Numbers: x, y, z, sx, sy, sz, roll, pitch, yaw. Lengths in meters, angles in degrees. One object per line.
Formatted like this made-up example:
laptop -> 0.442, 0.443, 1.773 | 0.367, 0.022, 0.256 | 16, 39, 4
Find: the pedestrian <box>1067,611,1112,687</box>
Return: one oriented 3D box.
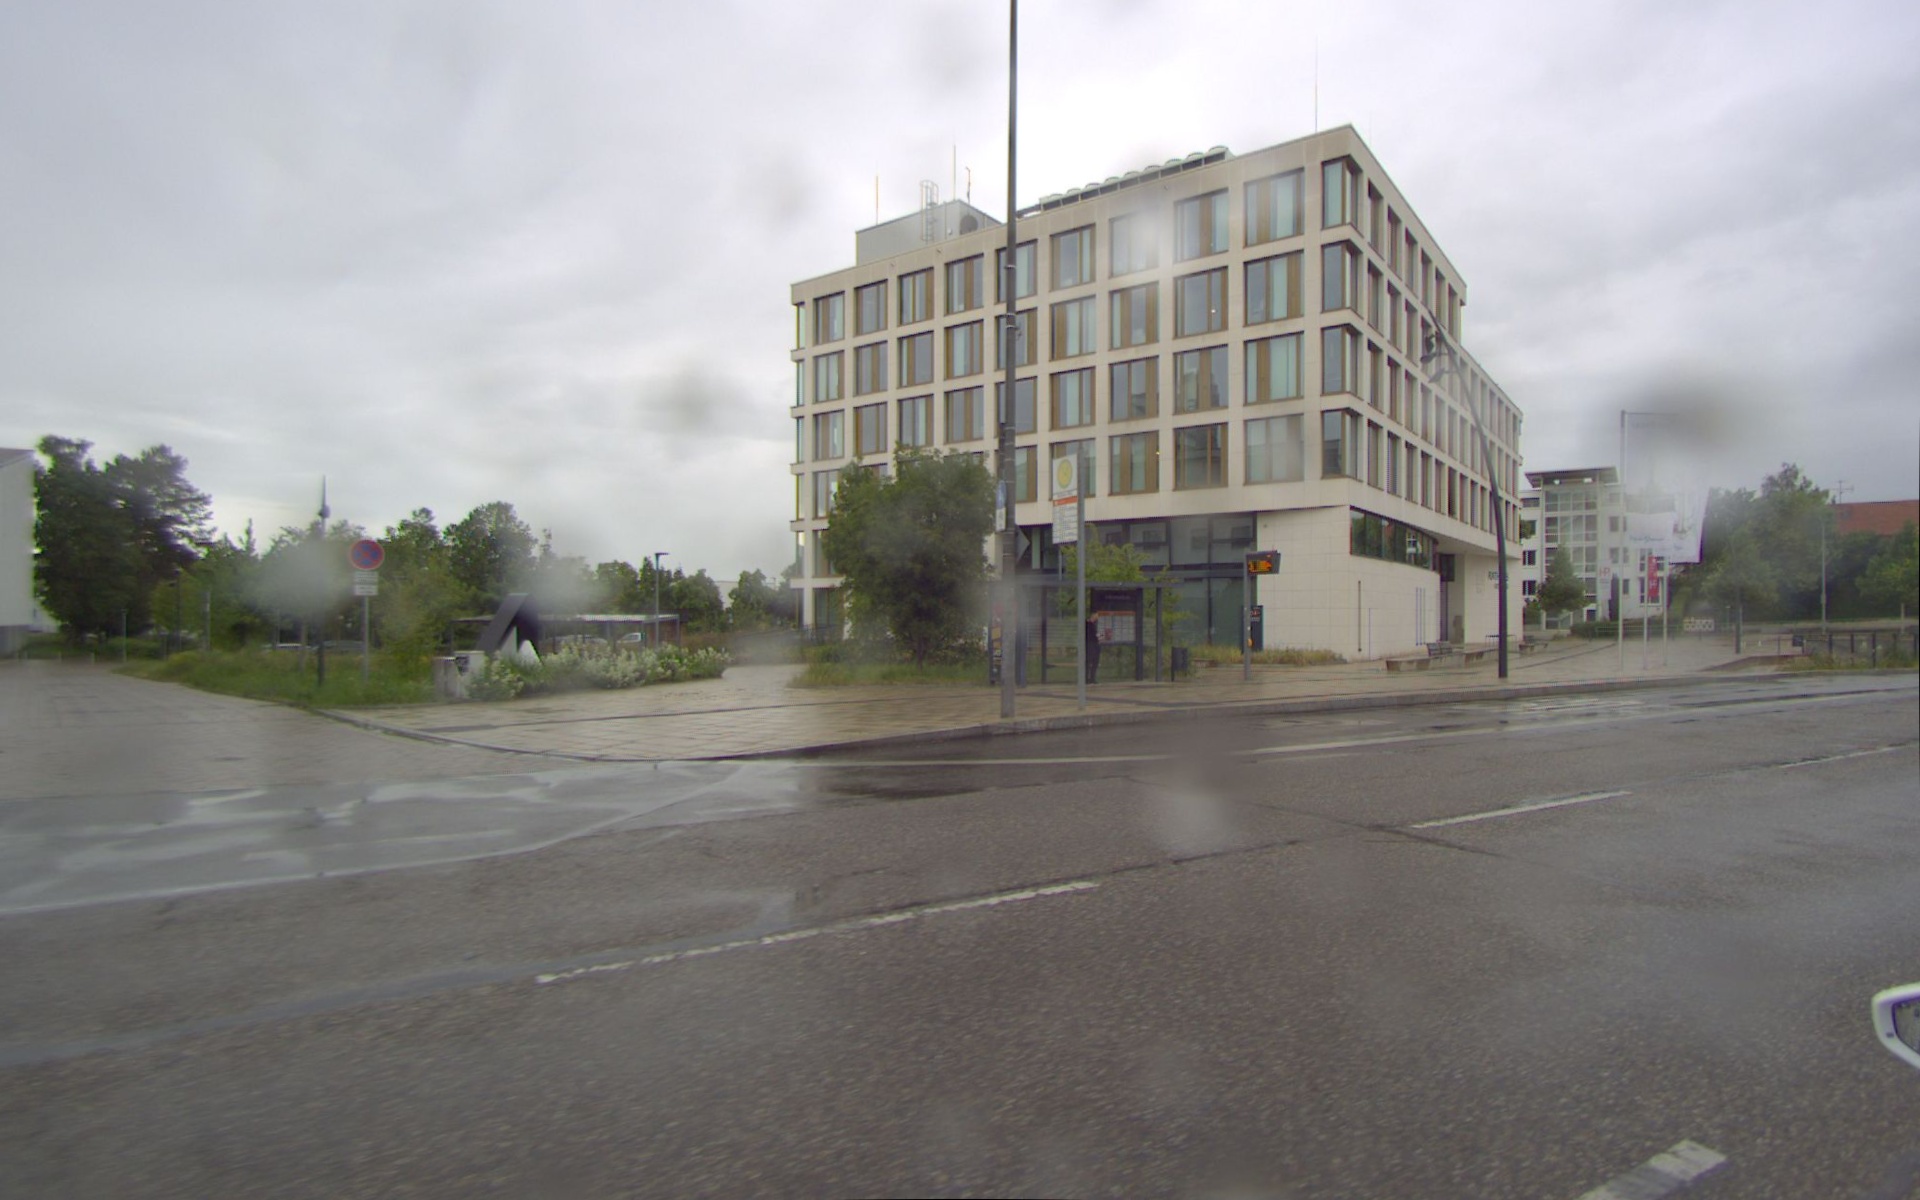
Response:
pedestrian -> 3.068, 1.160, 23.778 | 0.669, 1.768, 0.775 | 3, -3, -45
